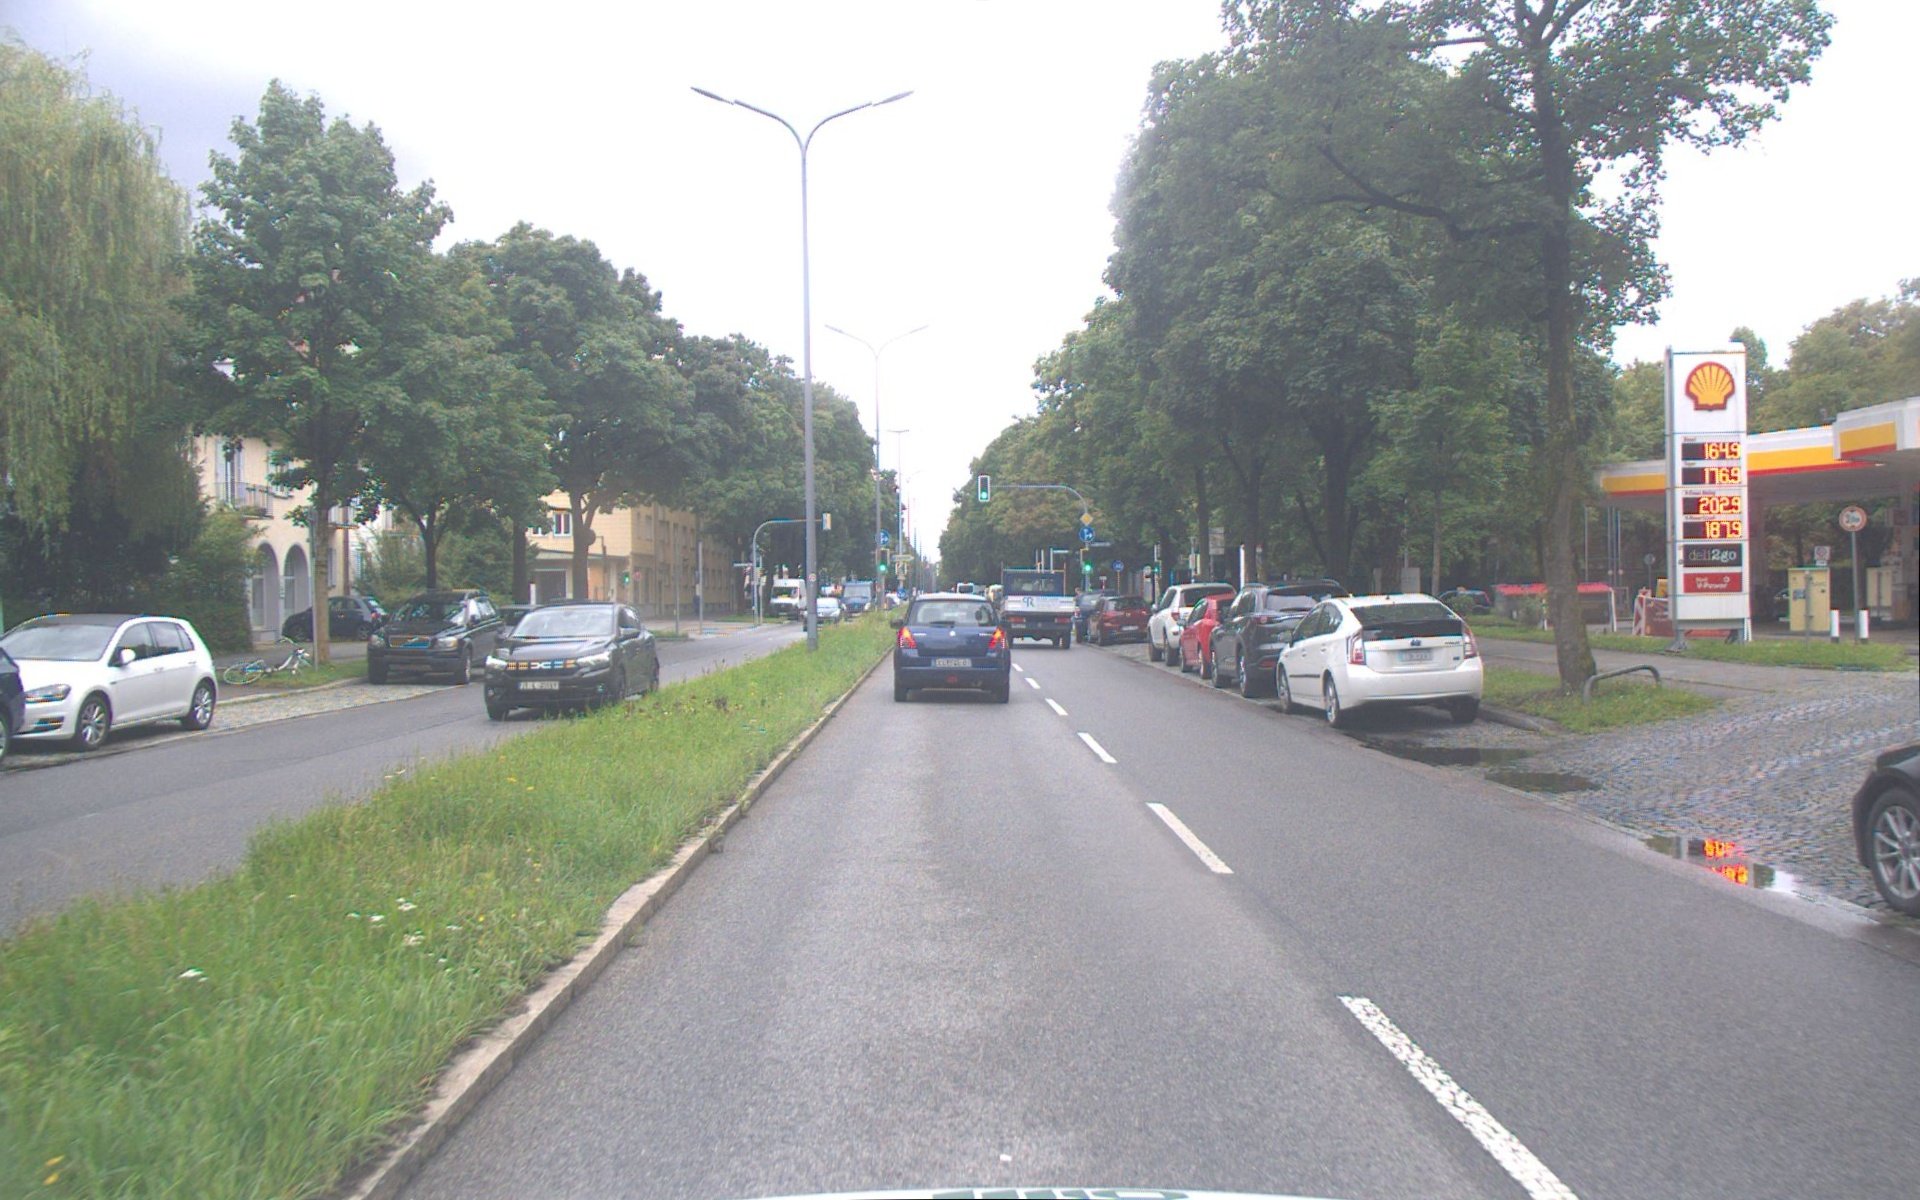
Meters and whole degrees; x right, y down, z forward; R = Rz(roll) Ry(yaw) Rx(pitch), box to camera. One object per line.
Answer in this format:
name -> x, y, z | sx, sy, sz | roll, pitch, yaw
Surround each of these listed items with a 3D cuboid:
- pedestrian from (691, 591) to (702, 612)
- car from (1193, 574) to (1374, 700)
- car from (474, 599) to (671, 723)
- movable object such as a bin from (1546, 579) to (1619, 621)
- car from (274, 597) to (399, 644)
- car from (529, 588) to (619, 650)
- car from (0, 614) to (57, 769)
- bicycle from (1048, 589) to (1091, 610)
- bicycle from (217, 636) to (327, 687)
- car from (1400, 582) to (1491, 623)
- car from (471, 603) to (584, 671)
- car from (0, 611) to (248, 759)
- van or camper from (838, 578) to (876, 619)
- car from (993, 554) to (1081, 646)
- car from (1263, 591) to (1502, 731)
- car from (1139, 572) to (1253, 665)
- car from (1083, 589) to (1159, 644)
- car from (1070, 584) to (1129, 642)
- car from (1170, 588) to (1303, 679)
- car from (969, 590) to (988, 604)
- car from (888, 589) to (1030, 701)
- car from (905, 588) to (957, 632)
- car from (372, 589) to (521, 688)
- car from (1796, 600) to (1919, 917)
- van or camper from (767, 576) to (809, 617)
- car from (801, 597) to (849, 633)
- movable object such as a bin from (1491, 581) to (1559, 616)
pedestrian -> -18.171, 0.111, 114.127 | 0.616, 1.465, 0.806 | 1, 0, -1
car -> 5.039, 0.514, 26.485 | 1.725, 1.728, 5.229 | -3, 0, -1
car -> -5.171, 0.756, 22.611 | 1.703, 1.465, 4.215 | -1, 0, 0
movable object such as a bin -> 23.445, 0.009, 62.357 | 2.019, 1.512, 1.837 | -1, 0, -1
car -> -20.943, 0.680, 55.661 | 3.560, 1.487, 1.671 | -1, 0, -3
car -> -10.539, 0.492, 45.438 | 1.633, 1.589, 4.297 | -1, 0, -3
car -> -10.245, 0.899, 15.126 | 1.640, 1.501, 4.215 | 2, 0, 0
bicycle -> 5.863, -0.017, 88.935 | 2.250, 1.133, 0.996 | 0, 0, 0
bicycle -> -12.601, 1.119, 30.361 | 1.422, 0.843, 1.404 | 1, 0, -1
car -> 23.475, 0.119, 80.068 | 3.799, 1.638, 1.934 | -5, 0, 6
car -> -10.499, 0.861, 40.408 | 1.632, 1.470, 4.374 | 2, 0, -1
car -> -10.302, 0.919, 19.819 | 1.640, 1.468, 4.320 | 2, 0, 0
van or camper -> -6.078, -0.095, 97.916 | 1.982, 2.300, 6.020 | -2, 0, -2
car -> 2.168, -0.012, 47.859 | 2.369, 2.487, 5.087 | 0, 0, 1
car -> 5.176, 0.676, 20.924 | 1.725, 1.479, 4.632 | -3, 0, -1
car -> 5.149, 0.370, 36.595 | 1.725, 1.862, 4.527 | -3, 0, -1
car -> 4.870, 0.472, 50.536 | 1.678, 1.449, 4.281 | -5, 0, -2
car -> 4.639, 0.388, 55.306 | 1.726, 1.686, 4.285 | -5, 0, 3
car -> 5.190, 0.585, 31.545 | 1.725, 1.533, 4.143 | -3, 0, -1
car -> 1.989, -0.342, 179.753 | 1.751, 1.525, 3.657 | 0, 0, -4
car -> -0.089, 0.611, 24.490 | 1.859, 1.525, 3.657 | 0, 0, -4
car -> -1.053, 0.336, 59.337 | 1.763, 1.525, 3.659 | -1, 0, -2
car -> -10.330, 0.702, 33.623 | 1.761, 1.794, 5.053 | 2, 0, -5
car -> 5.408, 0.748, 6.680 | 1.641, 1.479, 4.581 | -3, 0, -1
van or camper -> -11.224, -0.242, 108.323 | 2.096, 2.519, 6.258 | -2, 0, 0
car -> -5.916, 0.627, 73.048 | 1.702, 1.467, 4.103 | -2, 0, 1
movable object such as a bin -> 21.261, -0.056, 62.320 | 2.018, 1.285, 1.531 | -1, 0, -1
